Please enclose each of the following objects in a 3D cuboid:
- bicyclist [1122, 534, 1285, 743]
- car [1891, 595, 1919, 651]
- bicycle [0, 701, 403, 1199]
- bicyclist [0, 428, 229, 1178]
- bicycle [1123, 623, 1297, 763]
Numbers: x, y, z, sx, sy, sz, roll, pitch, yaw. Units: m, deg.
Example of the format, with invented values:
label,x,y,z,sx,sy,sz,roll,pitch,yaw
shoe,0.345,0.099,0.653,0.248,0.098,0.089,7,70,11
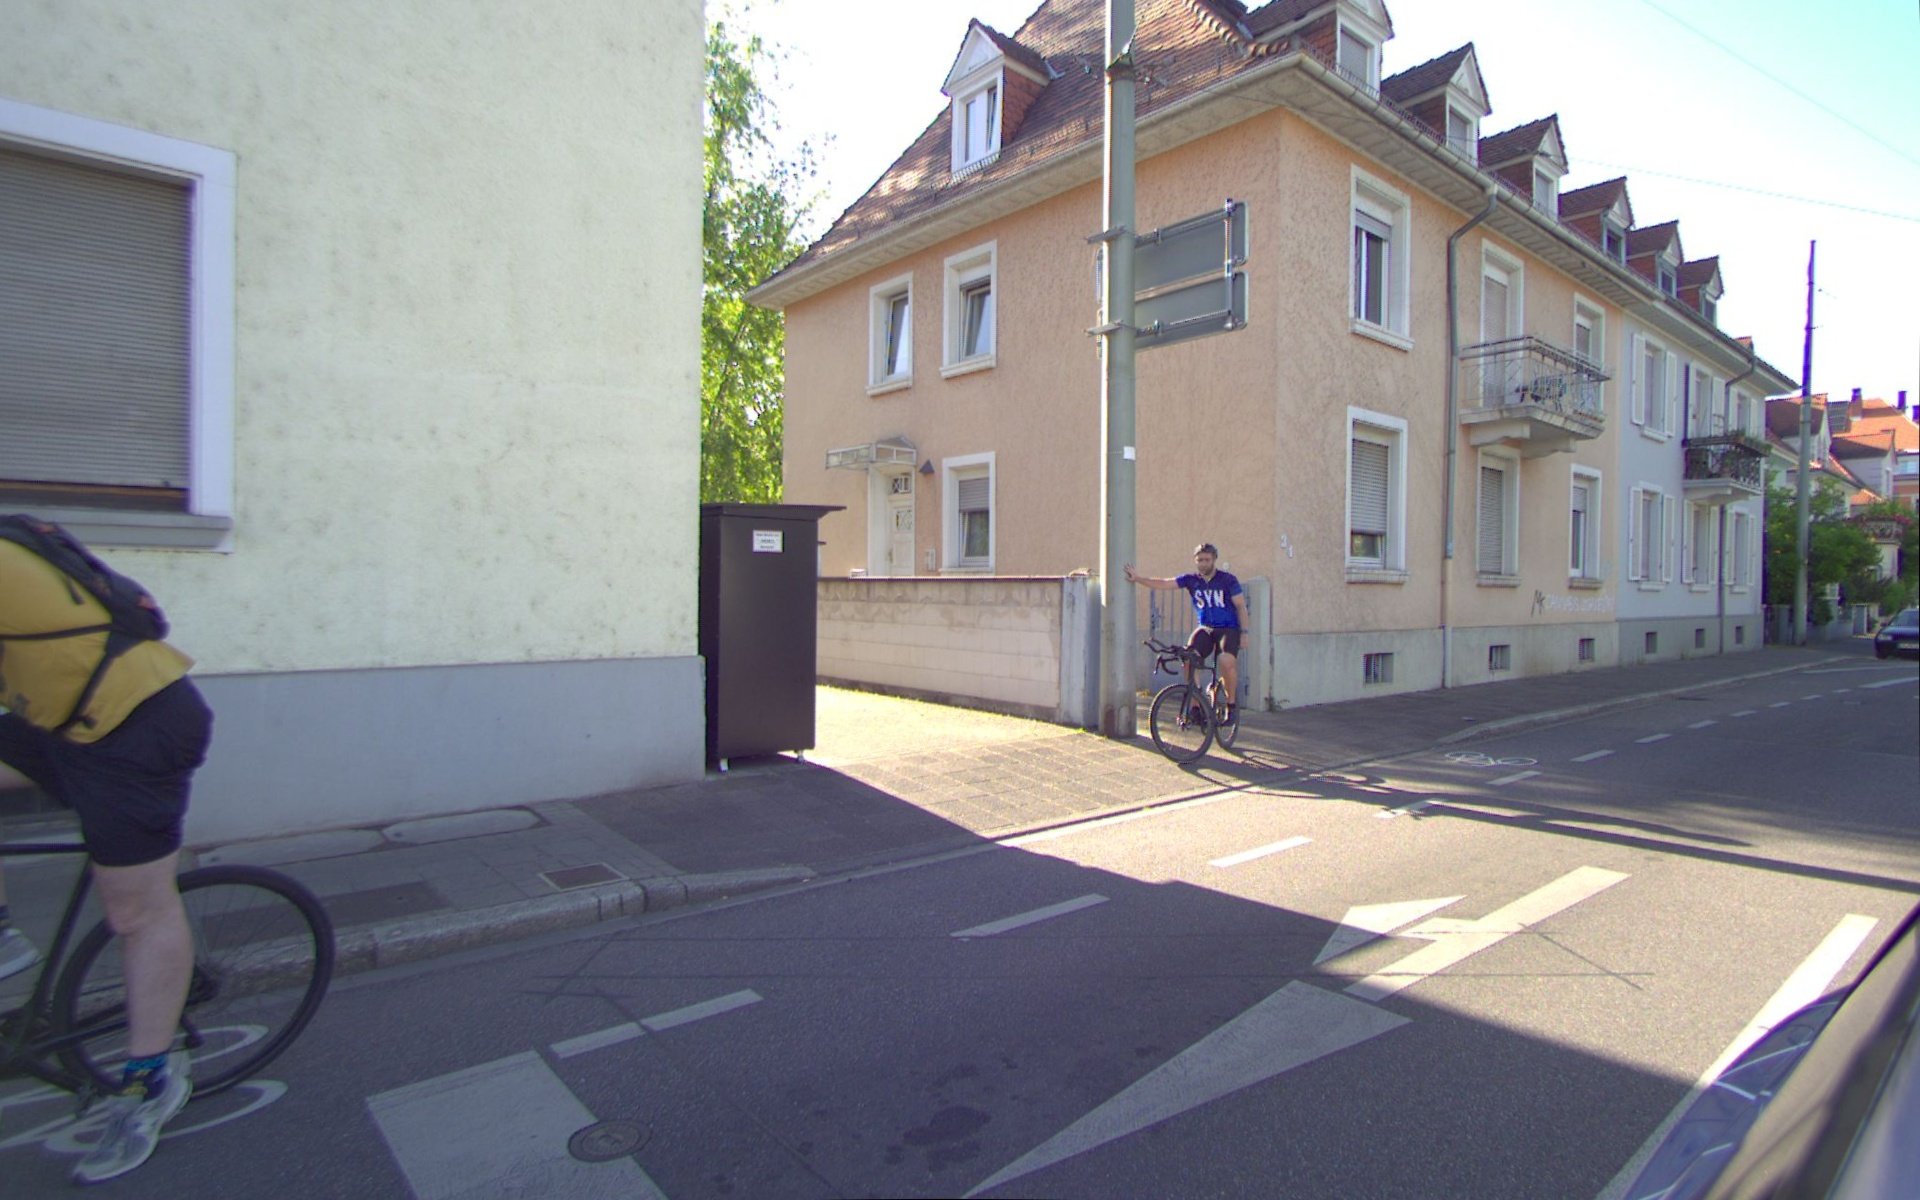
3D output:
label,x,y,z,sx,sy,sz,roll,pitch,yaw
bicyclist,2.264,0.311,9.466,0.838,1.758,1.072,0,6,-40
car,26.624,0.615,27.325,3.932,1.438,1.845,0,1,-42
bicycle,-2.479,0.898,2.571,1.778,1.101,0.611,0,1,-41
bicyclist,-2.445,0.468,2.543,0.939,1.743,0.582,0,1,-41
bicycle,2.299,0.796,9.192,1.689,1.064,0.595,0,6,-41
